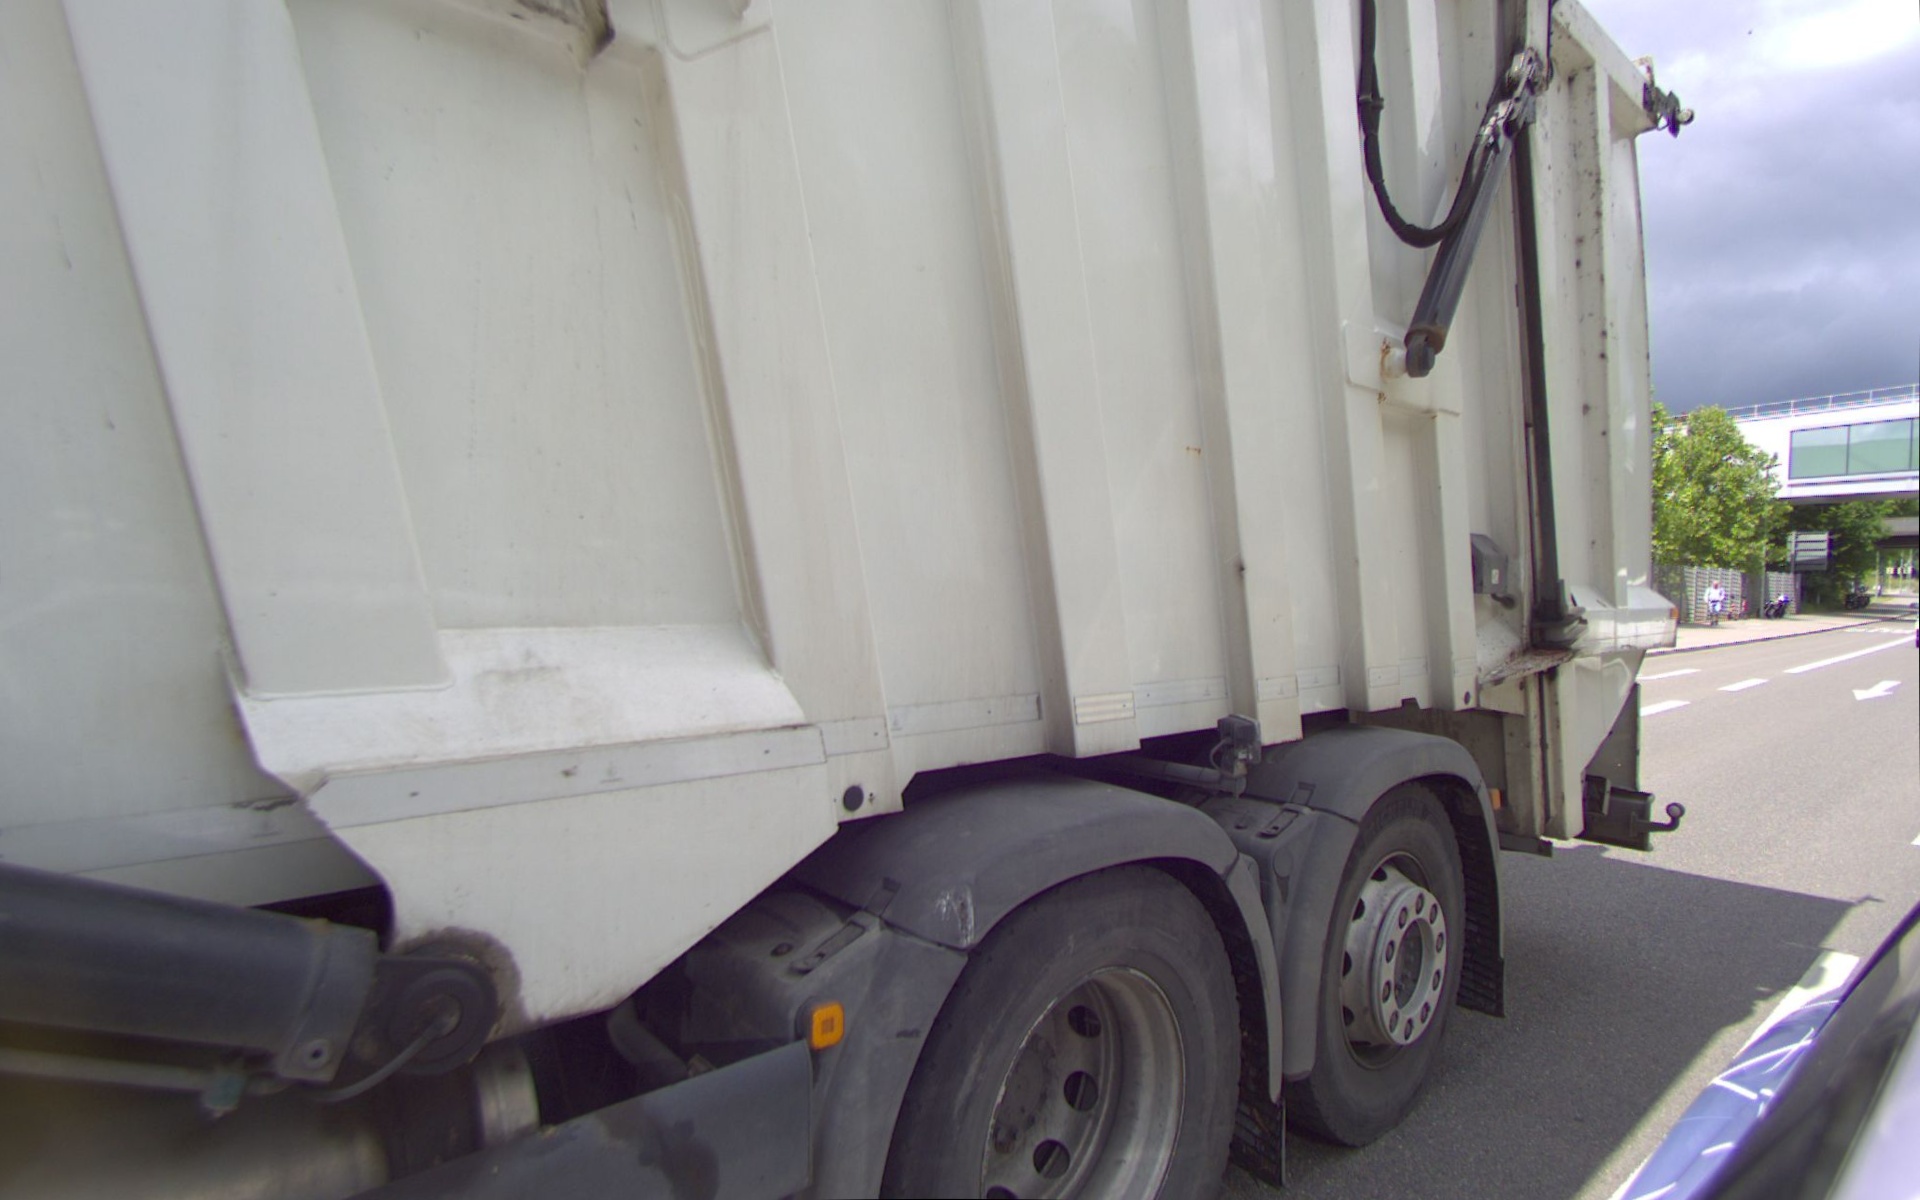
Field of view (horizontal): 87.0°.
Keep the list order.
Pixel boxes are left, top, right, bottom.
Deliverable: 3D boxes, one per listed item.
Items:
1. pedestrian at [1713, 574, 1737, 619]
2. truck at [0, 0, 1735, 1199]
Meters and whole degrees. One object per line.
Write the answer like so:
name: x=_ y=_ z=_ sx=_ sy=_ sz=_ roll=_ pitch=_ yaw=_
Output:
pedestrian: x=33.727 y=-0.154 z=44.618 sx=0.737 sy=1.936 sz=0.648 roll=0 pitch=0 yaw=44
truck: x=-0.840 y=-0.587 z=2.428 sx=9.999 sy=3.962 sz=2.492 roll=-1 pitch=0 yaw=-42
